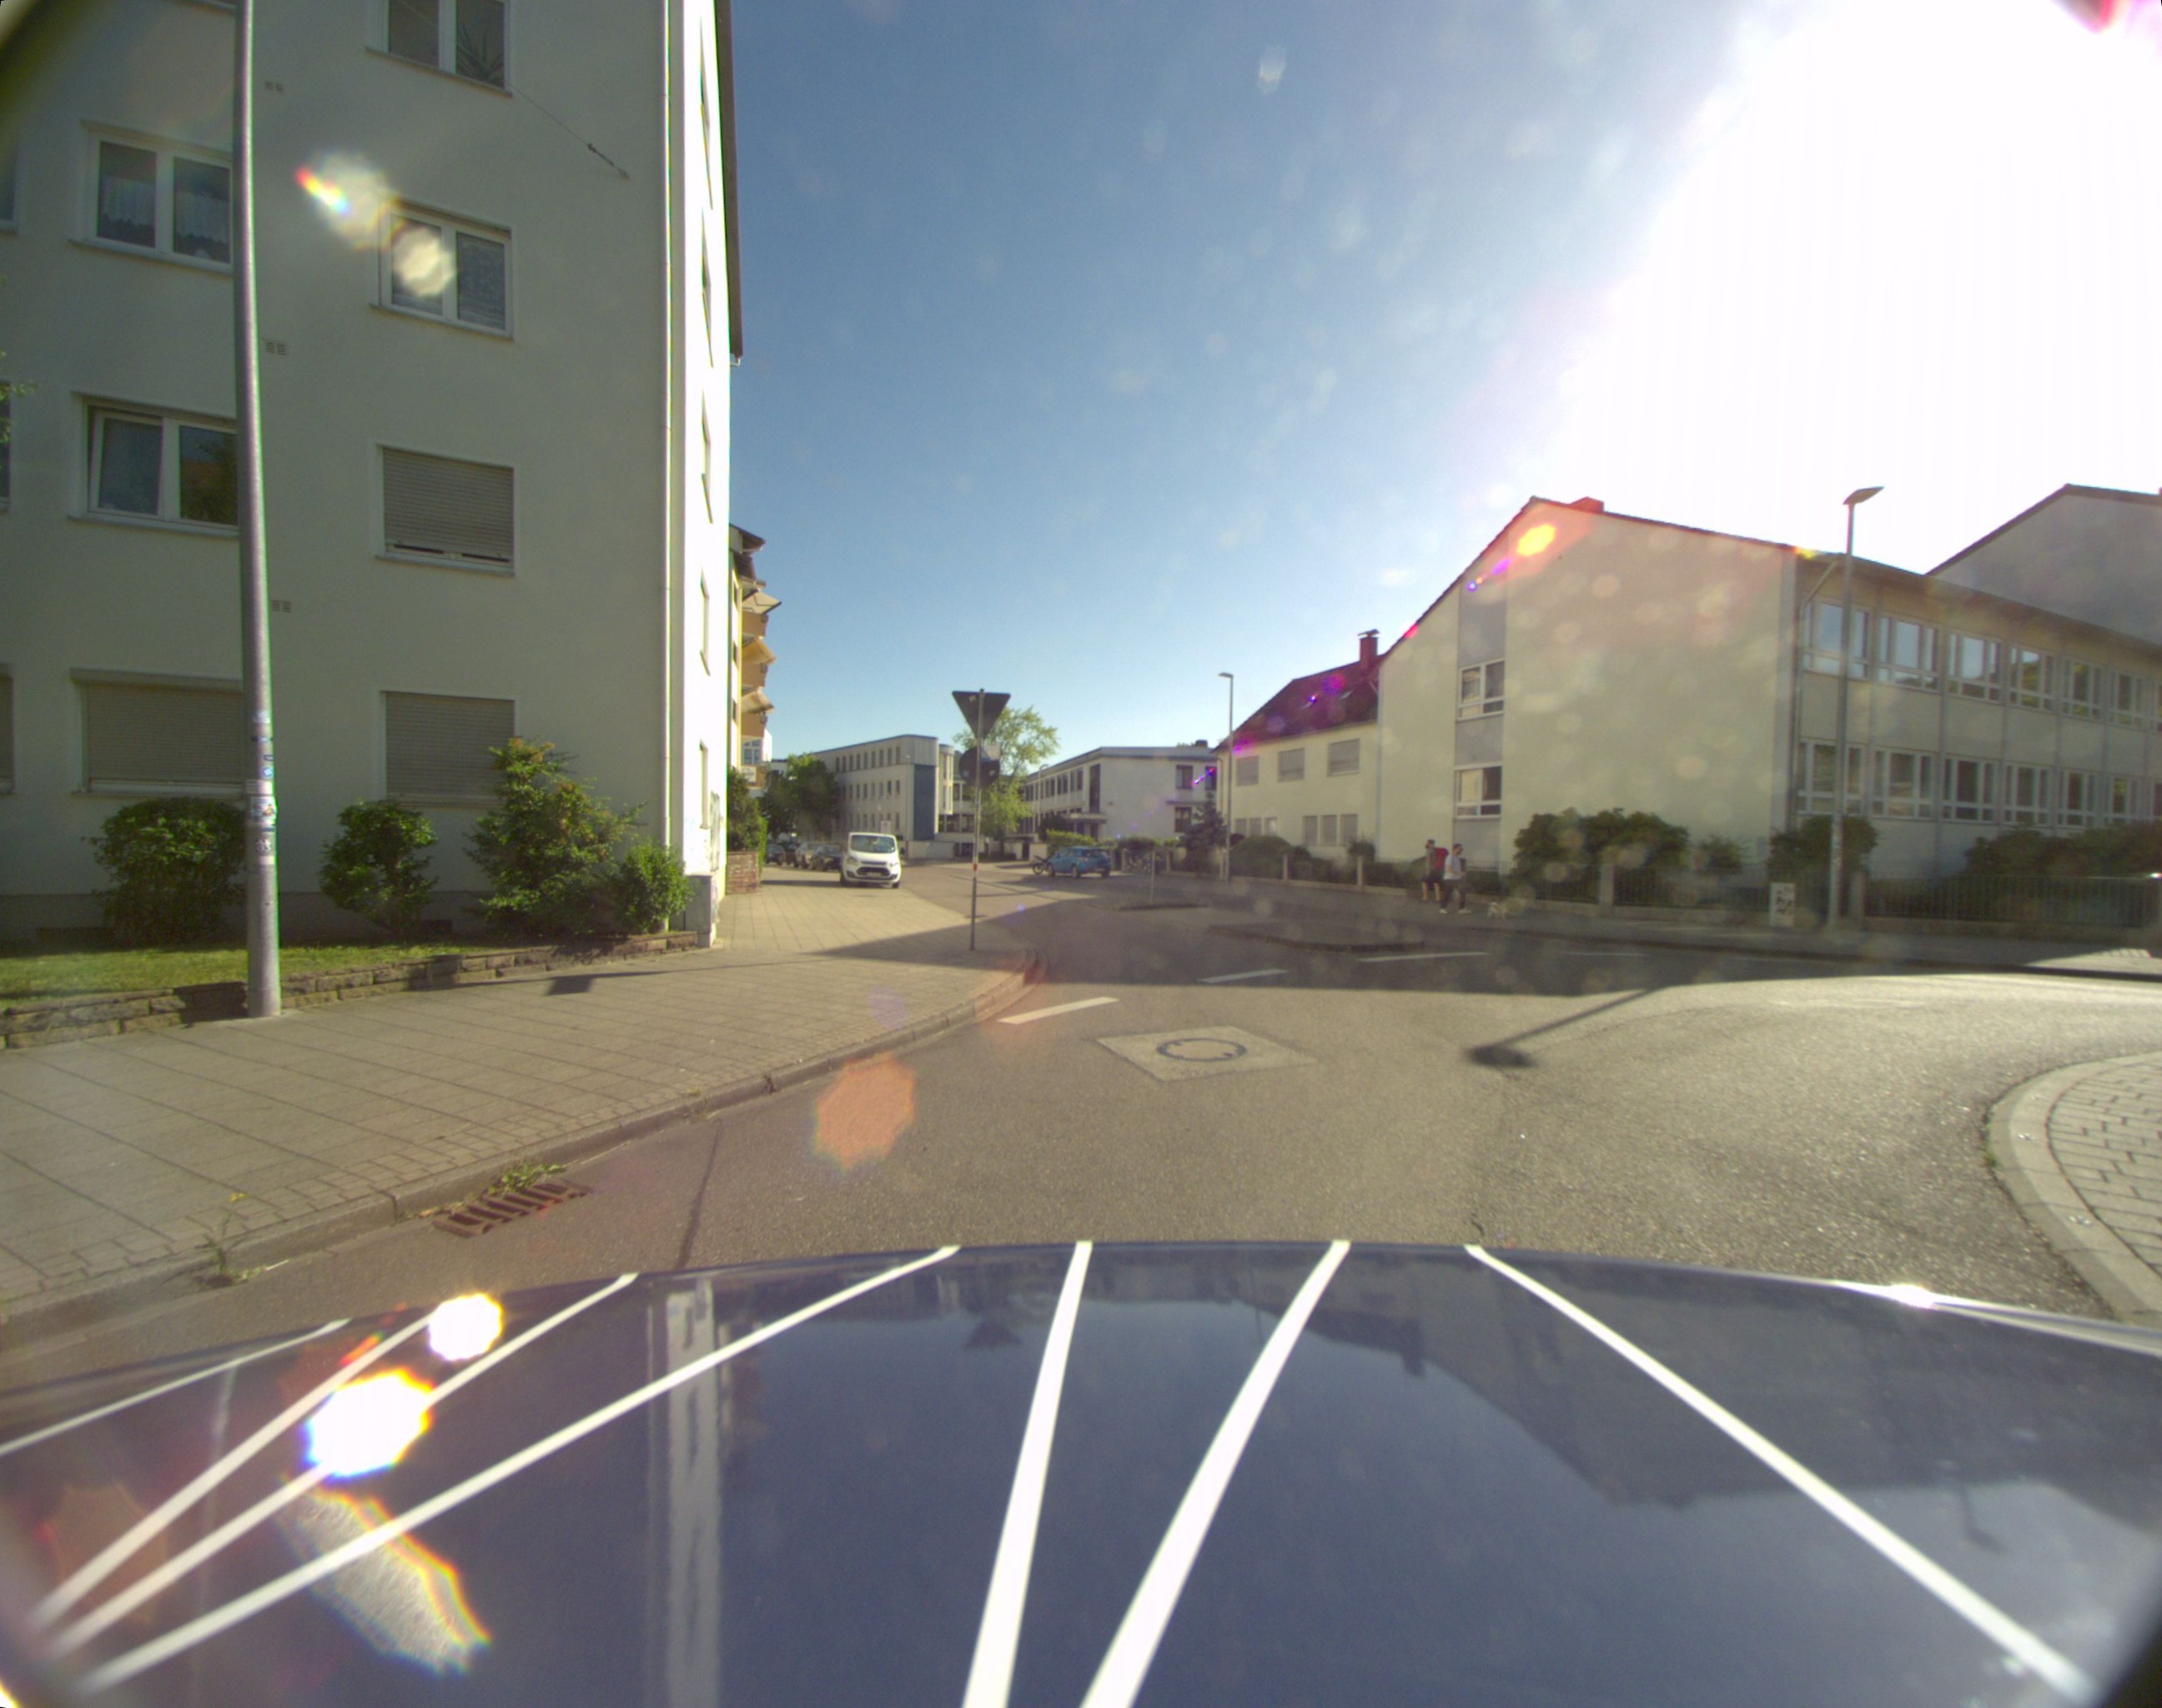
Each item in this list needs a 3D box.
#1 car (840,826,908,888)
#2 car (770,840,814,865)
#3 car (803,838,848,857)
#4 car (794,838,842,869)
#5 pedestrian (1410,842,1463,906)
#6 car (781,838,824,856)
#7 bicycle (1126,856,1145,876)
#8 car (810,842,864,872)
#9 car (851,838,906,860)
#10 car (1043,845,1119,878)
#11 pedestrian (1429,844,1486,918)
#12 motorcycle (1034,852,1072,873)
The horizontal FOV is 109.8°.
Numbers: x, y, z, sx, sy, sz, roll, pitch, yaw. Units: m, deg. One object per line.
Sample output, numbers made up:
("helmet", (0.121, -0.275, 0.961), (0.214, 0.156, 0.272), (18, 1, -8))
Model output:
("car", (-7.766, 0.078, 28.239), (2.002, 2.002, 4.788), (3, 0, -19))
("car", (-19.462, -0.123, 51.108), (1.763, 1.445, 3.988), (4, -1, -35))
("car", (-23.118, -0.592, 68.595), (2.143, 1.604, 4.821), (-3, 3, -41))
("car", (-15.648, -0.057, 45.149), (1.762, 1.632, 3.989), (4, -1, -32))
("pedestrian", (9.670, 0.522, 20.684), (0.820, 1.696, 0.995), (-1, 2, -23))
("car", (-26.676, -0.700, 72.713), (2.143, 1.604, 4.821), (-3, 3, -41))
("bicycle", (2.778, 0.602, 38.726), (0.346, 1.010, 1.260), (1, 1, -26))
("car", (-13.242, 0.131, 41.155), (1.762, 1.386, 3.989), (4, -1, -32))
("car", (-16.231, -0.426, 60.759), (2.143, 1.604, 4.821), (-3, 3, -43))
("car", (-0.071, 0.307, 36.819), (1.888, 1.426, 4.404), (-1, 2, -27))
("pedestrian", (8.993, 0.616, 18.170), (0.693, 1.696, 0.995), (-1, 2, -24))
("motorcycle", (-1.447, 0.436, 39.485), (1.962, 1.089, 0.590), (-1, 1, 2))
